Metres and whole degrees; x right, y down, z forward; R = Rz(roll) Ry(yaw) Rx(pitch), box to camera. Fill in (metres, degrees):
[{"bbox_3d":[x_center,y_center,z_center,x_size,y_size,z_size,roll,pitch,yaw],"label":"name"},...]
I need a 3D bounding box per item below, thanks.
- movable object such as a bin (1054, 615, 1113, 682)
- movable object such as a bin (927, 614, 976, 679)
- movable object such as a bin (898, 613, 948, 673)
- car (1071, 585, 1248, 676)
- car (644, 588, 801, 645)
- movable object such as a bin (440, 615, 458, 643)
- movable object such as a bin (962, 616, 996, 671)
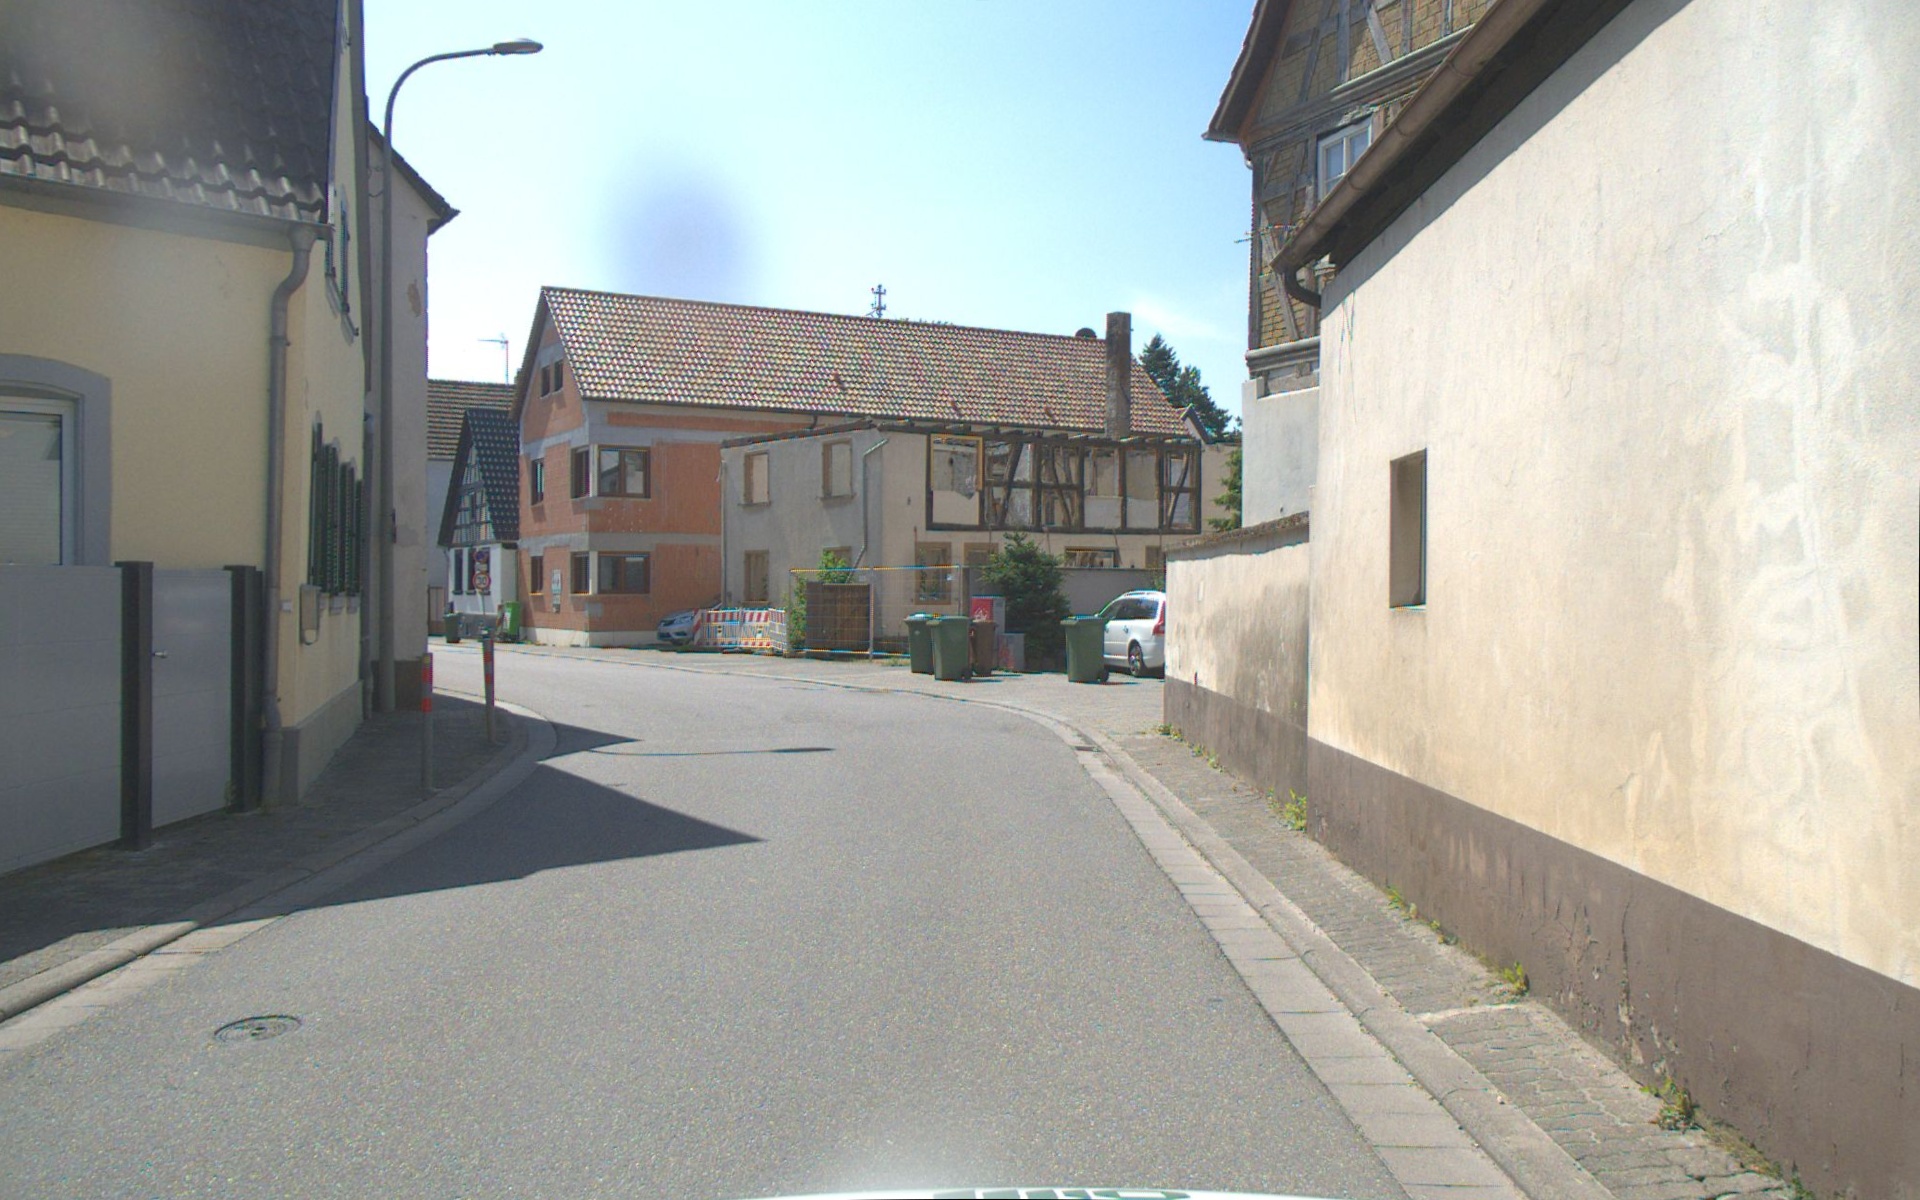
[{"bbox_3d":[2.083,0.812,27.876,0.711,1.100,0.749,0,0,-26],"label":"movable object such as a bin"},{"bbox_3d":[-0.149,0.797,28.875,0.677,1.111,0.633,0,0,-23],"label":"movable object such as a bin"},{"bbox_3d":[-0.691,0.796,31.137,0.657,1.091,0.761,0,0,26],"label":"movable object such as a bin"},{"bbox_3d":[3.605,0.497,30.648,1.781,1.555,4.278,0,1,-16],"label":"car"},{"bbox_3d":[-6.735,0.439,46.988,4.057,1.533,1.846,-1,1,-37],"label":"car"},{"bbox_3d":[-16.965,0.951,54.921,0.529,0.929,0.549,0,0,-14],"label":"movable object such as a bin"},{"bbox_3d":[0.351,0.783,30.267,0.459,0.987,0.492,0,0,-24],"label":"movable object such as a bin"}]
